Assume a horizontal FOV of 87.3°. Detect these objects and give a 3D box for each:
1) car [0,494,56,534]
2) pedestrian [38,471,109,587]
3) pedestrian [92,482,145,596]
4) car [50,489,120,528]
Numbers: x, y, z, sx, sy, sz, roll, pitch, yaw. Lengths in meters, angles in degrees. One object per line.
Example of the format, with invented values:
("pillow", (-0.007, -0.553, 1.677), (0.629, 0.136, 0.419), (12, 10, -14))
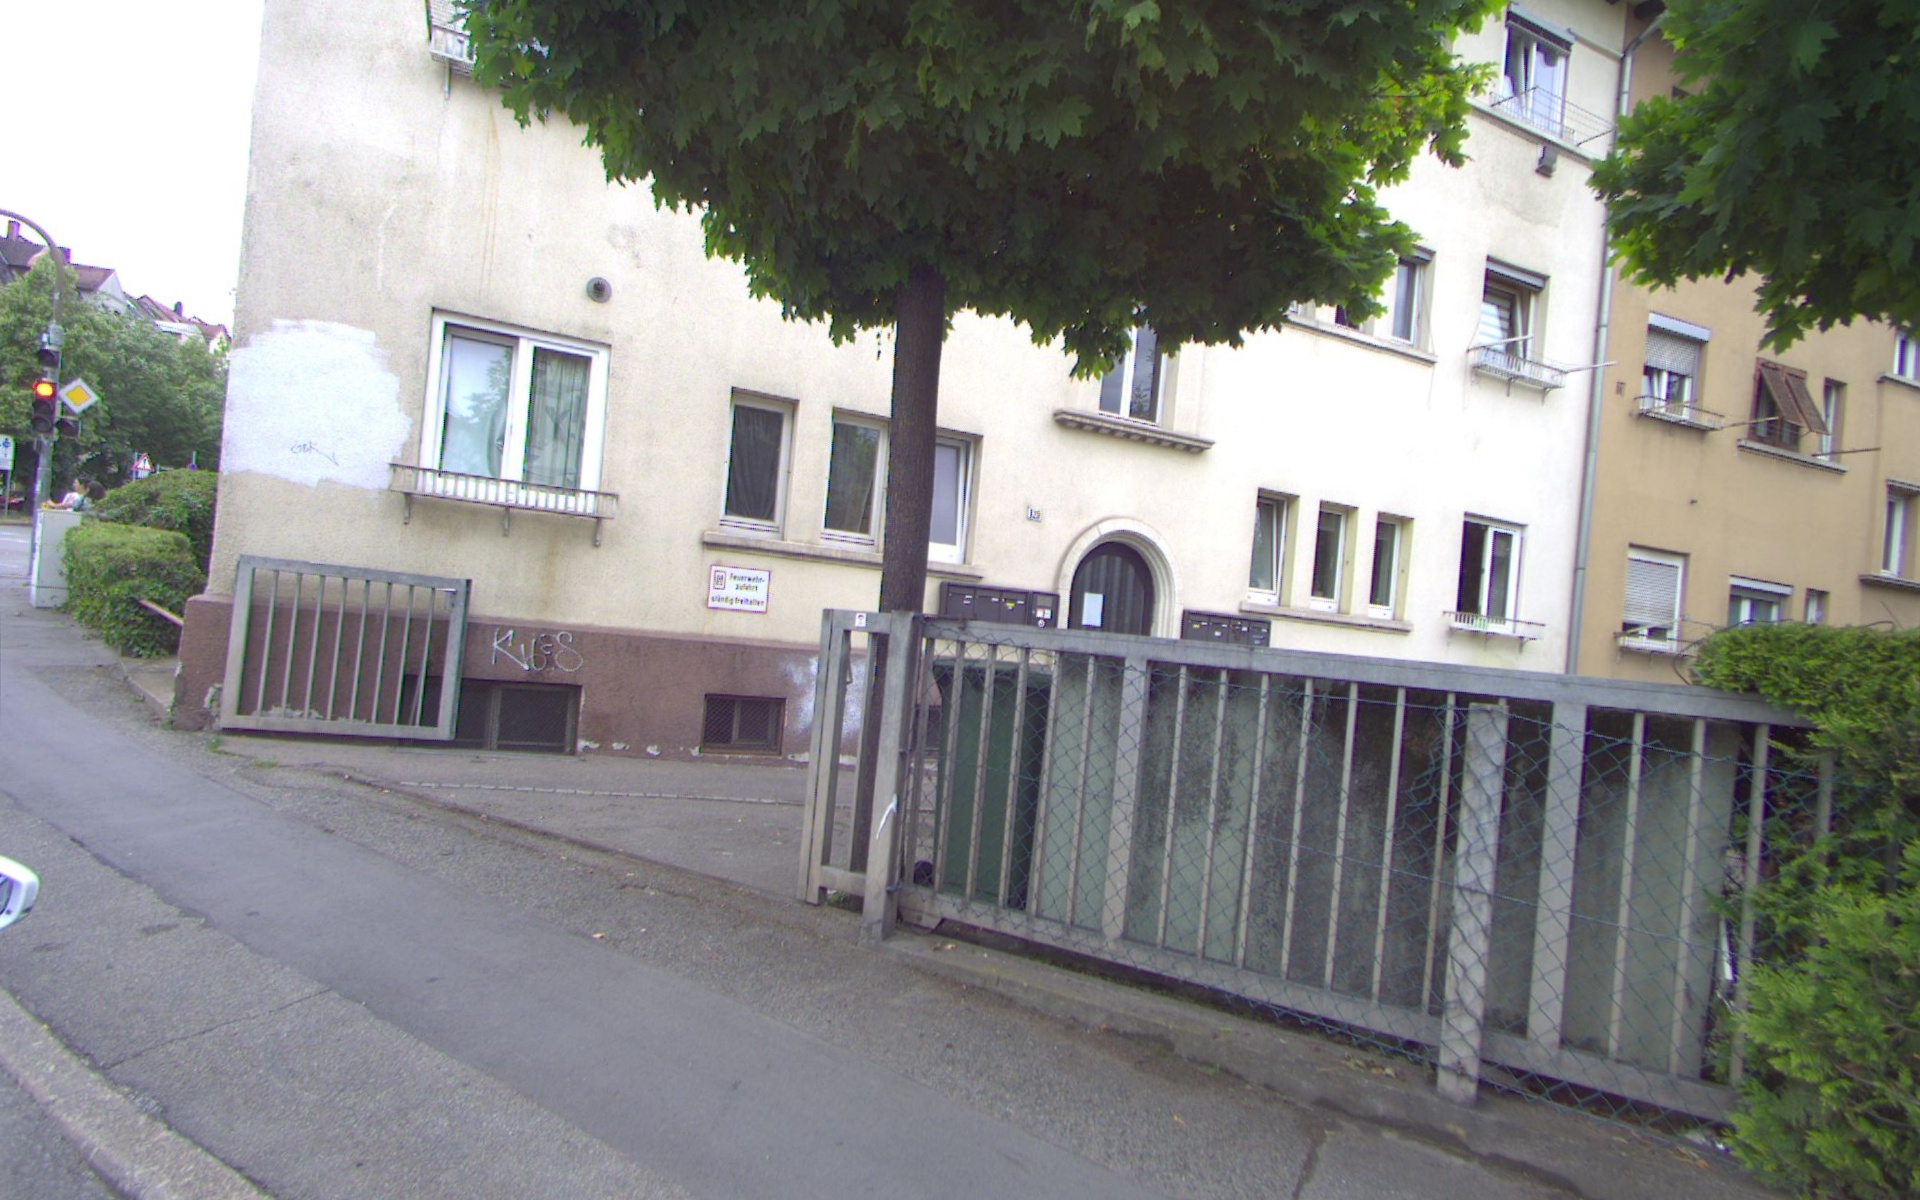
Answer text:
("car", (-60.891, -5.591, 64.919), (1.970, 2.036, 3.992), (8, -3, -15))
("pedestrian", (-14.850, -1.180, 16.855), (0.521, 1.840, 0.590), (6, -2, 37))
("pedestrian", (-14.293, -1.032, 17.089), (0.462, 1.857, 0.320), (9, -2, -44))
("car", (-62.514, -6.483, 71.979), (1.970, 2.036, 3.992), (8, -3, -15))
